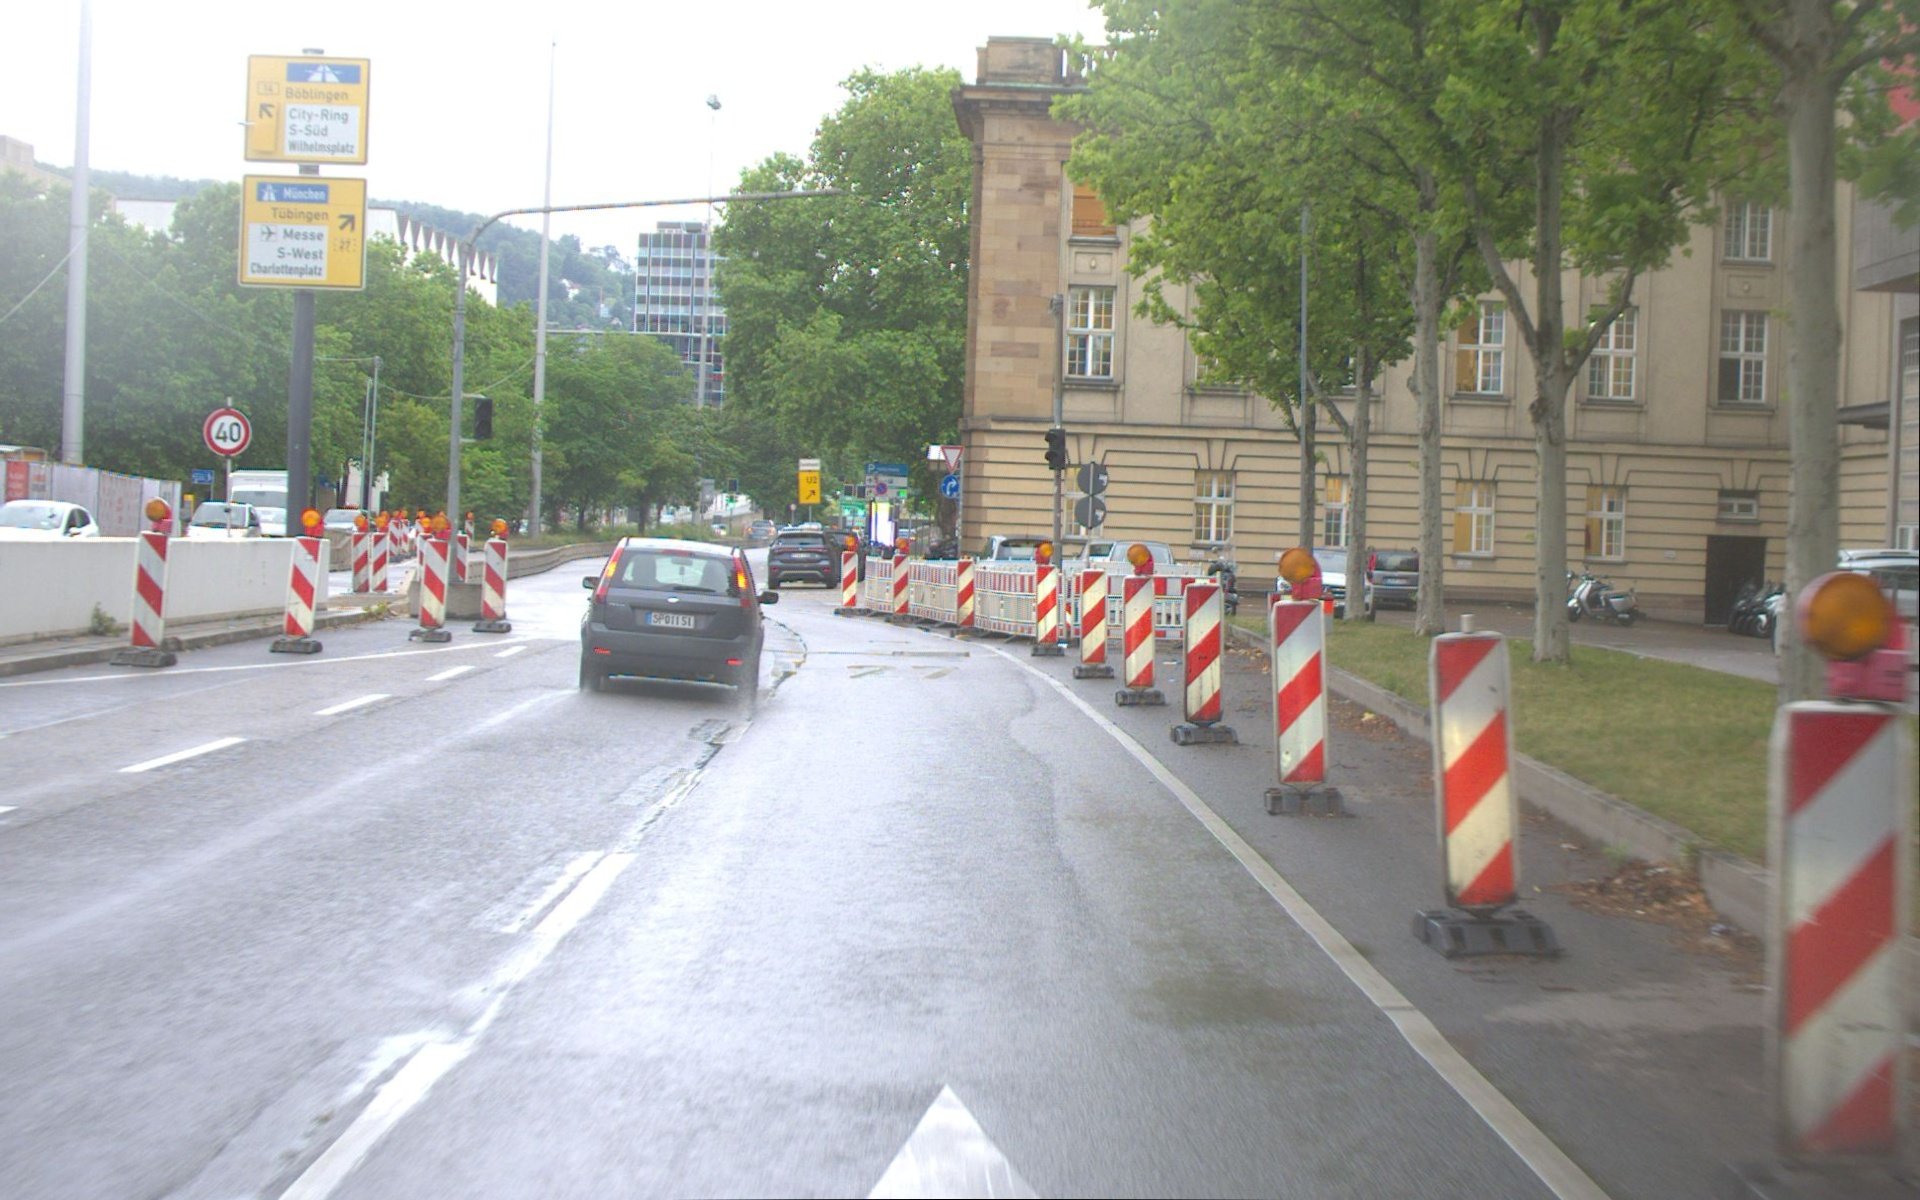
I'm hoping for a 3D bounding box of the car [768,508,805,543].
[{"bbox_3d":[-10.844,-4.649,215.118,1.993,2.007,4.001,4,0,-5],"label":"car"}]

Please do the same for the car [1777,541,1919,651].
[{"bbox_3d":[14.388,-0.034,51.183,3.987,1.554,1.933,1,-1,0],"label":"car"}]

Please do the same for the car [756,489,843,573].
[{"bbox_3d":[-4.185,-1.834,90.191,1.993,2.006,4.001,4,2,-1],"label":"car"}]

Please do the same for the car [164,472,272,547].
[{"bbox_3d":[-17.426,-2.116,80.875,1.668,1.517,4.000,4,0,-2],"label":"car"}]

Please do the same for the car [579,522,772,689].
[{"bbox_3d":[-2.663,0.006,32.572,1.670,1.422,3.758,2,1,-4],"label":"car"}]

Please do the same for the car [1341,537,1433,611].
[{"bbox_3d":[10.743,-0.647,86.784,1.994,1.703,3.999,4,0,4],"label":"car"}]

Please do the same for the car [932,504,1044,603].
[{"bbox_3d":[0.506,-0.933,66.751,1.993,1.702,4.001,4,2,-1],"label":"car"}]

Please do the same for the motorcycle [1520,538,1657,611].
[{"bbox_3d":[15.544,-0.630,85.055,3.162,1.538,0.889,4,0,4],"label":"motorcycle"}]

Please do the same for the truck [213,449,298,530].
[{"bbox_3d":[-23.033,-3.589,112.530,2.412,2.331,5.446,4,0,-10],"label":"truck"}]

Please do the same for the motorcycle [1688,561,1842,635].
[{"bbox_3d":[19.437,-0.044,83.048,3.350,1.526,1.152,4,0,2],"label":"motorcycle"}]

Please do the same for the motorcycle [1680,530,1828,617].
[{"bbox_3d":[19.770,-0.649,85.624,3.350,2.007,1.152,2,0,2],"label":"motorcycle"}]

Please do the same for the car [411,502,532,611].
[{"bbox_3d":[-6.518,-0.587,46.085,1.385,1.381,3.068,2,1,-5],"label":"car"}]

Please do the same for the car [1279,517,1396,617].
[{"bbox_3d":[7.190,-0.665,65.834,1.994,1.702,4.000,4,2,4],"label":"car"}]

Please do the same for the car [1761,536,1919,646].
[{"bbox_3d":[15.395,-0.134,59.127,1.993,1.754,5.096,2,0,0],"label":"car"}]

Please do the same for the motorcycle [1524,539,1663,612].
[{"bbox_3d":[15.477,-0.601,84.028,3.162,1.538,0.889,4,0,3],"label":"motorcycle"}]

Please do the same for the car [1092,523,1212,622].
[{"bbox_3d":[3.738,-0.570,67.645,1.993,1.702,4.001,4,2,-1],"label":"car"}]

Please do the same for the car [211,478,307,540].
[{"bbox_3d":[-19.433,-2.505,95.408,1.993,1.474,4.000,4,0,-4],"label":"car"}]

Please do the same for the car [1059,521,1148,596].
[{"bbox_3d":[3.649,-1.065,86.770,1.994,1.702,4.000,4,2,4],"label":"car"}]

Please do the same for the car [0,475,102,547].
[{"bbox_3d":[-16.812,-1.622,62.356,1.626,1.191,3.405,4,1,-1],"label":"car"}]
